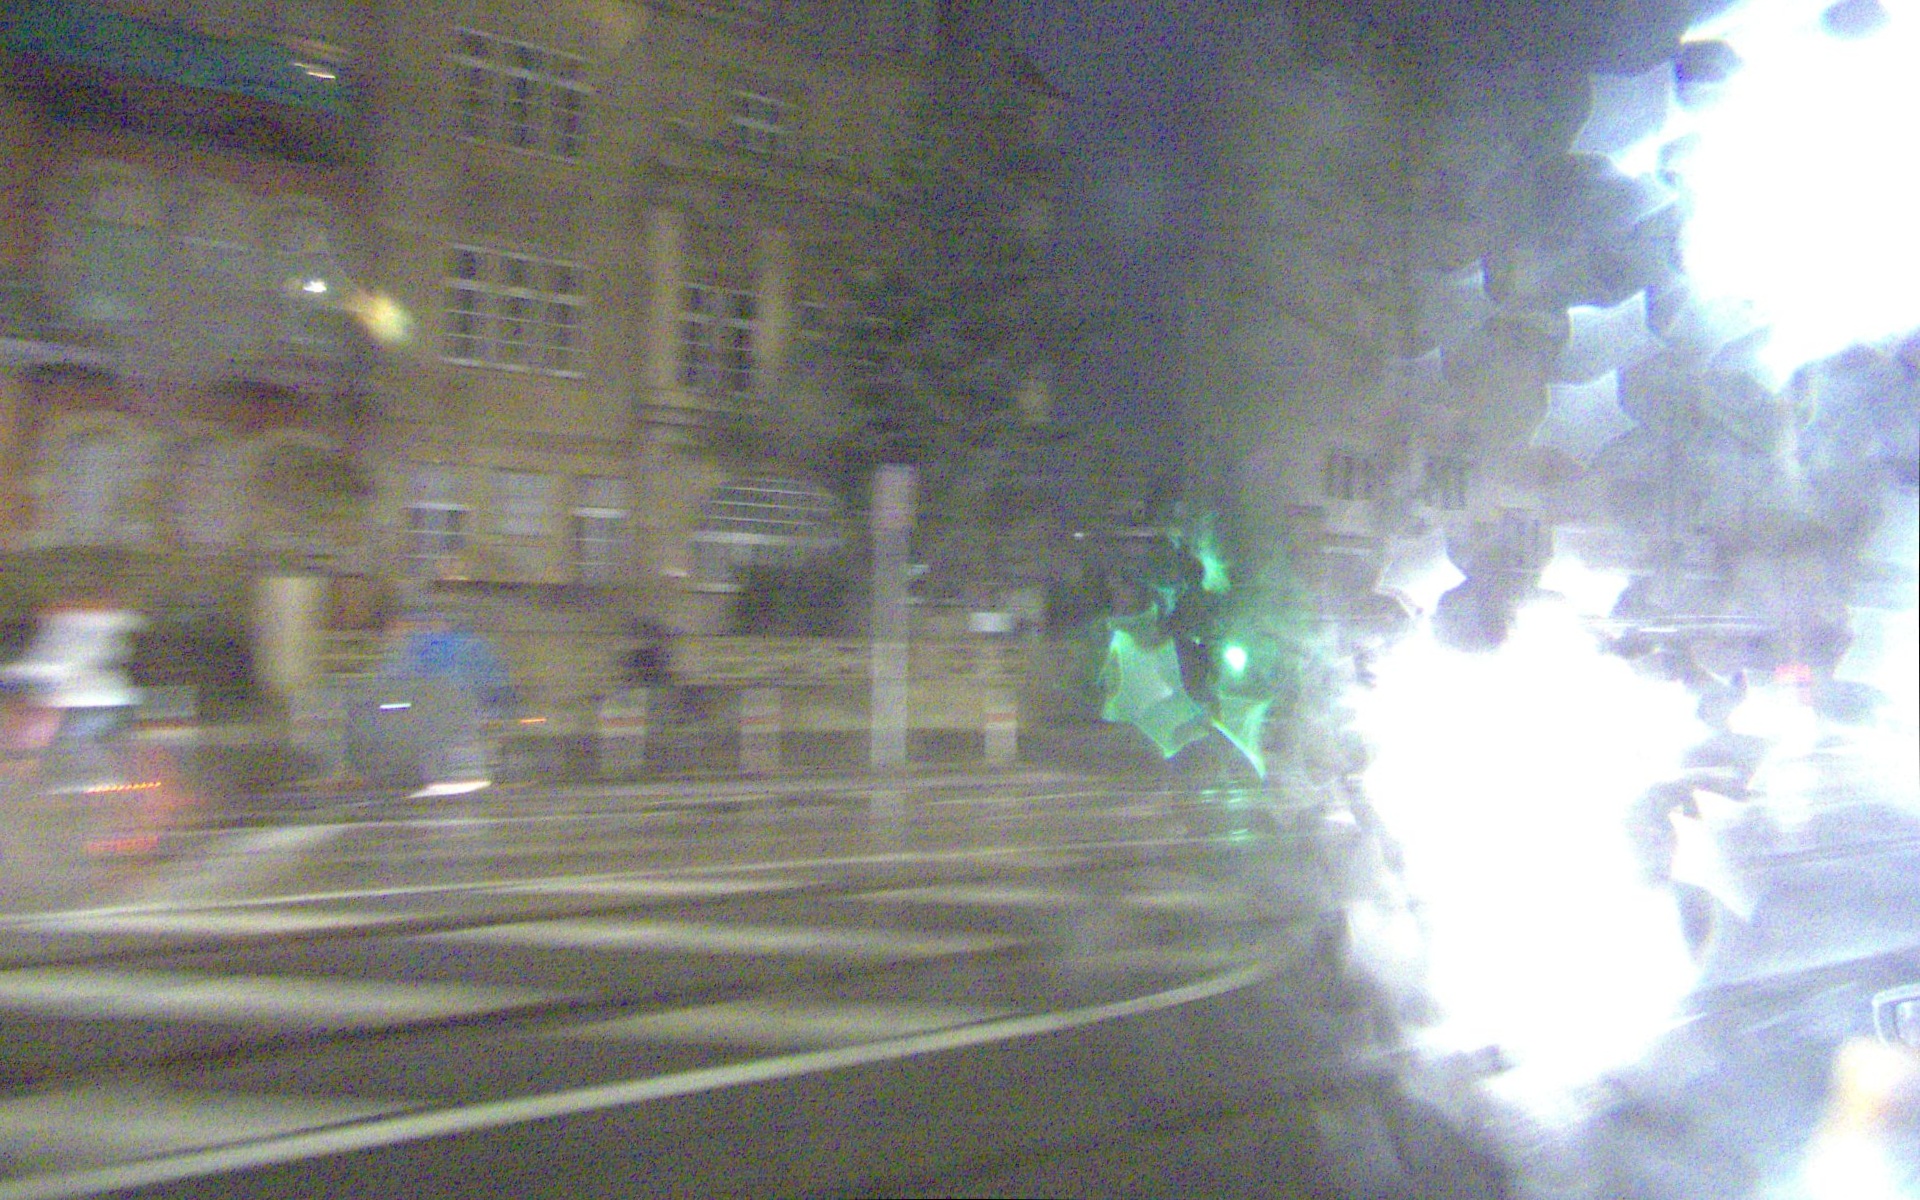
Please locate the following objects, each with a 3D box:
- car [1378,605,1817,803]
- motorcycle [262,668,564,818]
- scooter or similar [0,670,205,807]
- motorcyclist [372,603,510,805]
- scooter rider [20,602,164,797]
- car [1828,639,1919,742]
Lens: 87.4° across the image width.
[{"bbox_3d":[7.163,1.134,11.328,4.469,1.893,1.892,2,-4,-21],"label":"car"},{"bbox_3d":[-4.903,1.274,9.205,2.294,1.246,0.706,3,-4,-25],"label":"motorcycle"},{"bbox_3d":[-7.450,1.182,8.632,1.346,1.066,0.640,3,0,-13],"label":"scooter or similar"},{"bbox_3d":[-4.756,0.948,9.285,1.014,1.753,0.706,3,-4,-25],"label":"motorcyclist"},{"bbox_3d":[-7.435,0.830,8.635,0.641,1.594,0.640,3,0,-13],"label":"scooter rider"},{"bbox_3d":[20.207,1.778,20.323,5.236,1.850,1.988,1,1,-25],"label":"car"}]
